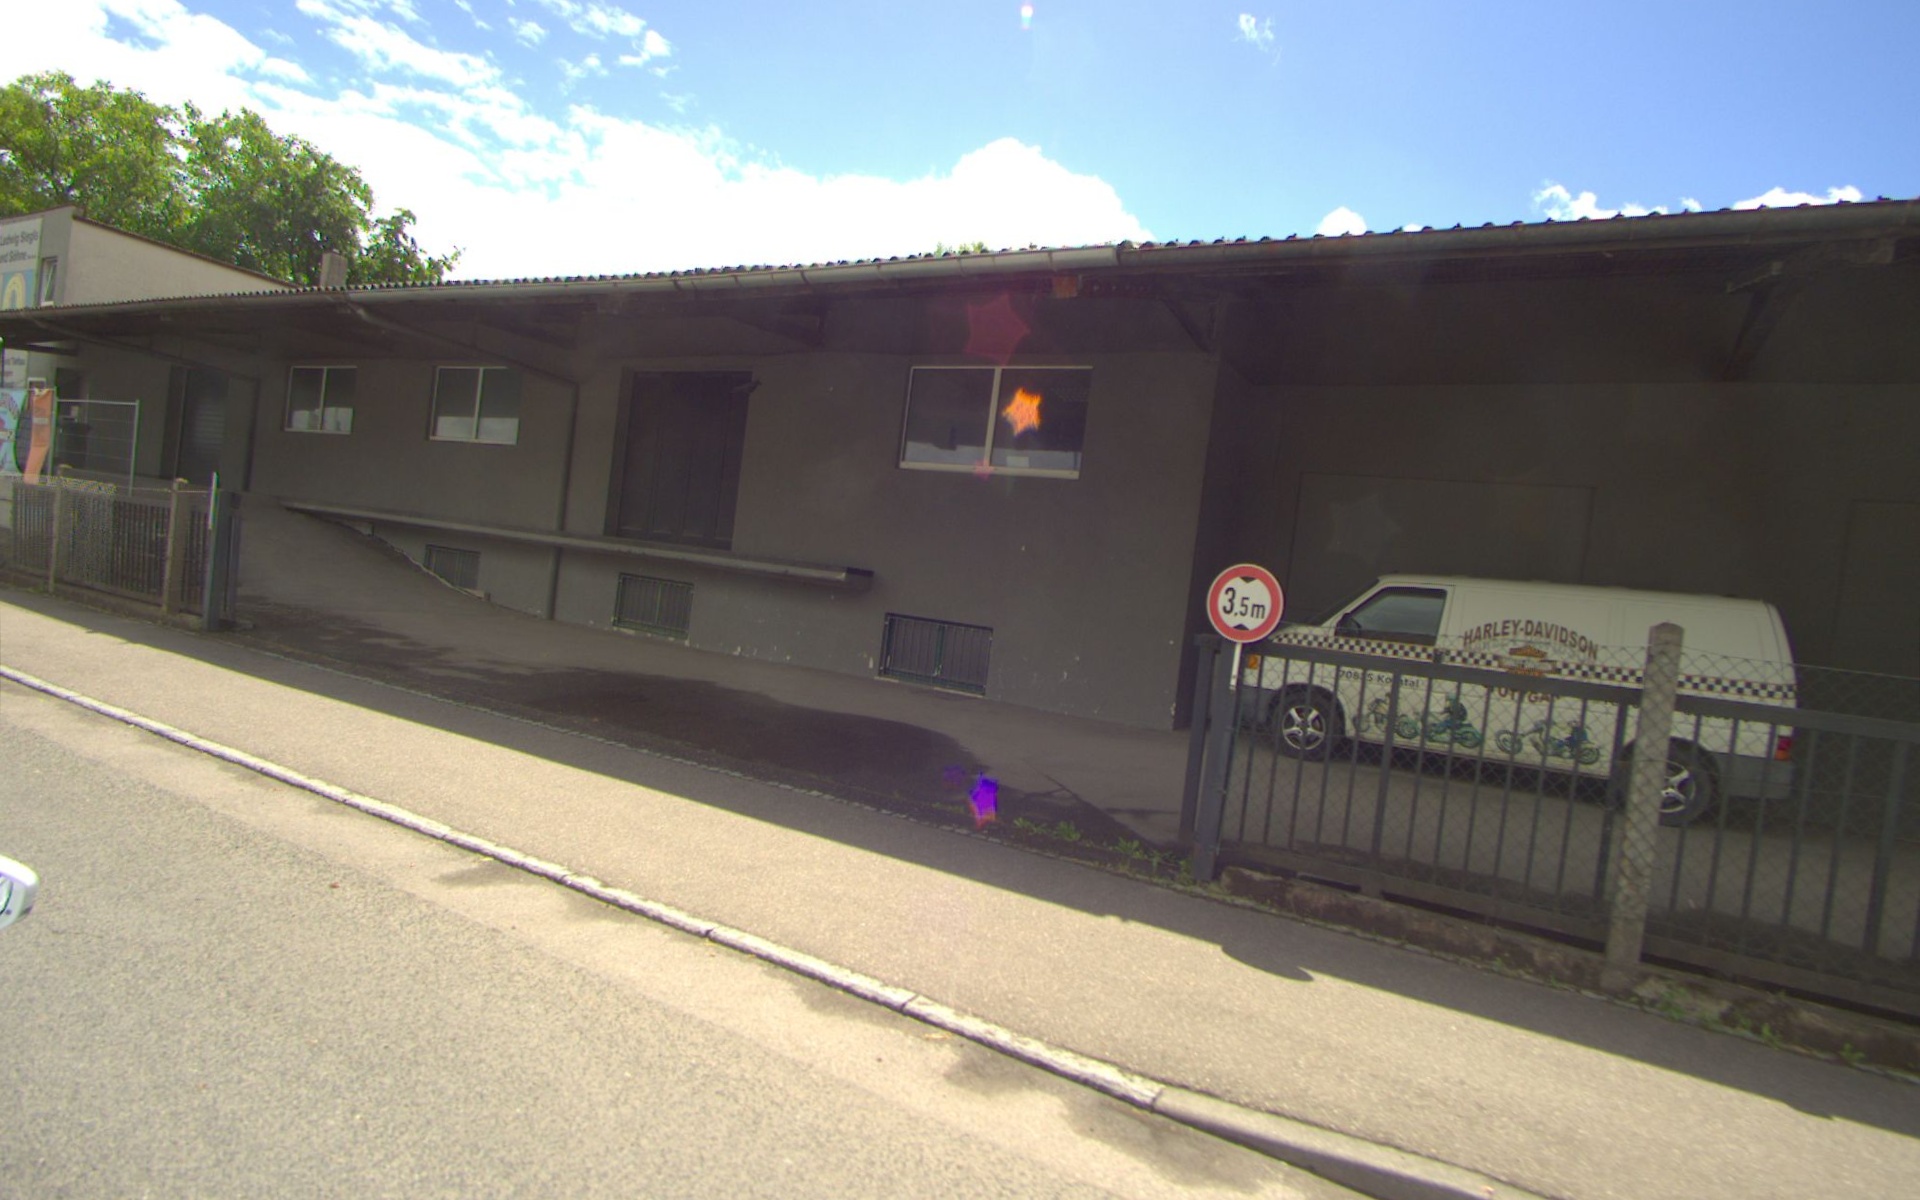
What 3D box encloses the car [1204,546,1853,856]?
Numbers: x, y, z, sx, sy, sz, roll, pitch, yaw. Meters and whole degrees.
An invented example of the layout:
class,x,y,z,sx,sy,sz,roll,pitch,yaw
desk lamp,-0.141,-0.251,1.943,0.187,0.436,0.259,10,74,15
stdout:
class,x,y,z,sx,sy,sz,roll,pitch,yaw
car,5.102,0.776,9.741,4.770,1.934,1.996,8,1,30
